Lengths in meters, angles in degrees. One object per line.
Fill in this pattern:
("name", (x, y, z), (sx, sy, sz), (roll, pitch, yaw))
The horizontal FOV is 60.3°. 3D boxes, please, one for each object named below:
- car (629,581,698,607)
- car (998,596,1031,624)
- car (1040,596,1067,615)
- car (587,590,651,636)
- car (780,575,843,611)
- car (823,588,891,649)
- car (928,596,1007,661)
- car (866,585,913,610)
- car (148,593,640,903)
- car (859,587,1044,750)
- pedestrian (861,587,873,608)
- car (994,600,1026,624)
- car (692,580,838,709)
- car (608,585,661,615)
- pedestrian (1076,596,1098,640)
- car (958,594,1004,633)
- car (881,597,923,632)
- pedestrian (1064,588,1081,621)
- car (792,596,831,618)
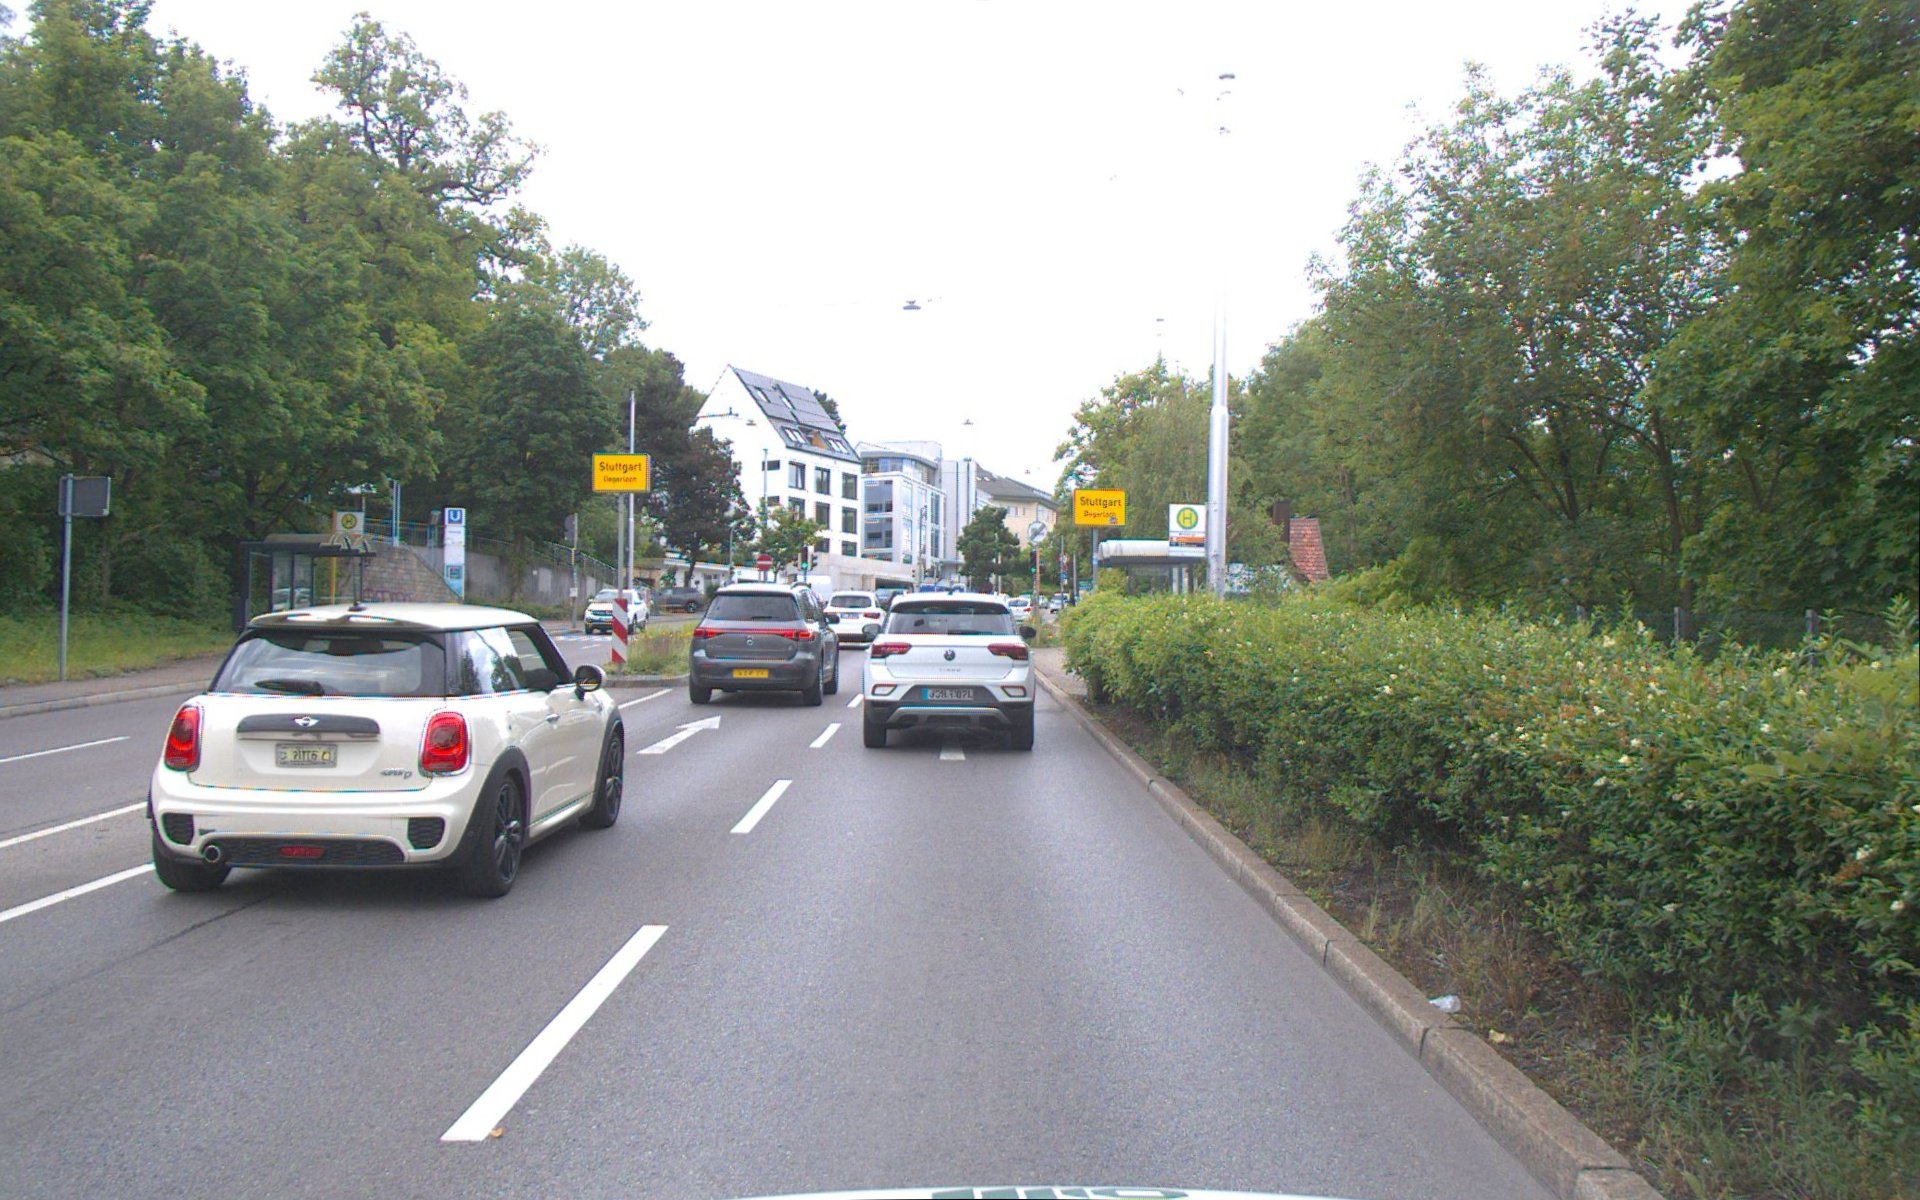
("car", (-17.846, -0.368, 99.697), (4.044, 1.567, 1.595), (0, 0, -10))
("car", (3.091, 0.542, 94.023), (1.819, 1.527, 4.057), (0, 0, 2))
("car", (7.651, 0.474, 134.968), (1.818, 1.527, 4.059), (0, 0, 8))
("car", (-12.204, 0.438, 59.392), (1.695, 1.568, 4.040), (1, 0, -4))
("car", (-11.009, -0.519, 122.935), (2.184, 2.613, 7.427), (0, 0, 15))
("car", (-2.973, 0.505, 48.379), (1.820, 1.681, 4.634), (0, 0, -2))
("car", (0.131, 0.661, 41.108), (1.820, 1.527, 4.054), (0, 0, -2))
("car", (-5.763, -0.222, 135.601), (1.941, 2.001, 5.219), (0, 0, 20))
("car", (-2.951, 0.679, 9.403), (1.594, 1.418, 3.565), (0, 0, -1))
("car", (-0.131, 0.658, 17.801), (1.775, 1.566, 3.688), (0, 0, -2))
("pedestrian", (-7.632, -0.187, 136.209), (0.667, 1.669, 0.665), (2, 0, -33))
("car", (3.237, 0.751, 106.145), (1.819, 1.527, 4.058), (0, 0, 5))
("car", (-2.743, 0.585, 24.117), (1.776, 1.681, 4.633), (0, 0, -3))
("car", (-18.721, 0.024, 95.010), (2.666, 1.547, 1.552), (4, -1, -24))
("pedestrian", (4.997, 0.701, 65.164), (0.679, 1.718, 0.620), (-1, -1, 21))
("car", (0.942, 0.564, 72.283), (1.834, 1.527, 4.556), (3, 0, 2))
("car", (-2.563, 0.633, 73.786), (1.820, 1.527, 4.054), (0, 0, -2))
("pedestrian", (6.447, 0.261, 94.732), (0.684, 1.866, 0.615), (2, 0, -23))
("car", (-10.336, 0.452, 115.254), (1.587, 1.491, 3.930), (0, 0, 12))
